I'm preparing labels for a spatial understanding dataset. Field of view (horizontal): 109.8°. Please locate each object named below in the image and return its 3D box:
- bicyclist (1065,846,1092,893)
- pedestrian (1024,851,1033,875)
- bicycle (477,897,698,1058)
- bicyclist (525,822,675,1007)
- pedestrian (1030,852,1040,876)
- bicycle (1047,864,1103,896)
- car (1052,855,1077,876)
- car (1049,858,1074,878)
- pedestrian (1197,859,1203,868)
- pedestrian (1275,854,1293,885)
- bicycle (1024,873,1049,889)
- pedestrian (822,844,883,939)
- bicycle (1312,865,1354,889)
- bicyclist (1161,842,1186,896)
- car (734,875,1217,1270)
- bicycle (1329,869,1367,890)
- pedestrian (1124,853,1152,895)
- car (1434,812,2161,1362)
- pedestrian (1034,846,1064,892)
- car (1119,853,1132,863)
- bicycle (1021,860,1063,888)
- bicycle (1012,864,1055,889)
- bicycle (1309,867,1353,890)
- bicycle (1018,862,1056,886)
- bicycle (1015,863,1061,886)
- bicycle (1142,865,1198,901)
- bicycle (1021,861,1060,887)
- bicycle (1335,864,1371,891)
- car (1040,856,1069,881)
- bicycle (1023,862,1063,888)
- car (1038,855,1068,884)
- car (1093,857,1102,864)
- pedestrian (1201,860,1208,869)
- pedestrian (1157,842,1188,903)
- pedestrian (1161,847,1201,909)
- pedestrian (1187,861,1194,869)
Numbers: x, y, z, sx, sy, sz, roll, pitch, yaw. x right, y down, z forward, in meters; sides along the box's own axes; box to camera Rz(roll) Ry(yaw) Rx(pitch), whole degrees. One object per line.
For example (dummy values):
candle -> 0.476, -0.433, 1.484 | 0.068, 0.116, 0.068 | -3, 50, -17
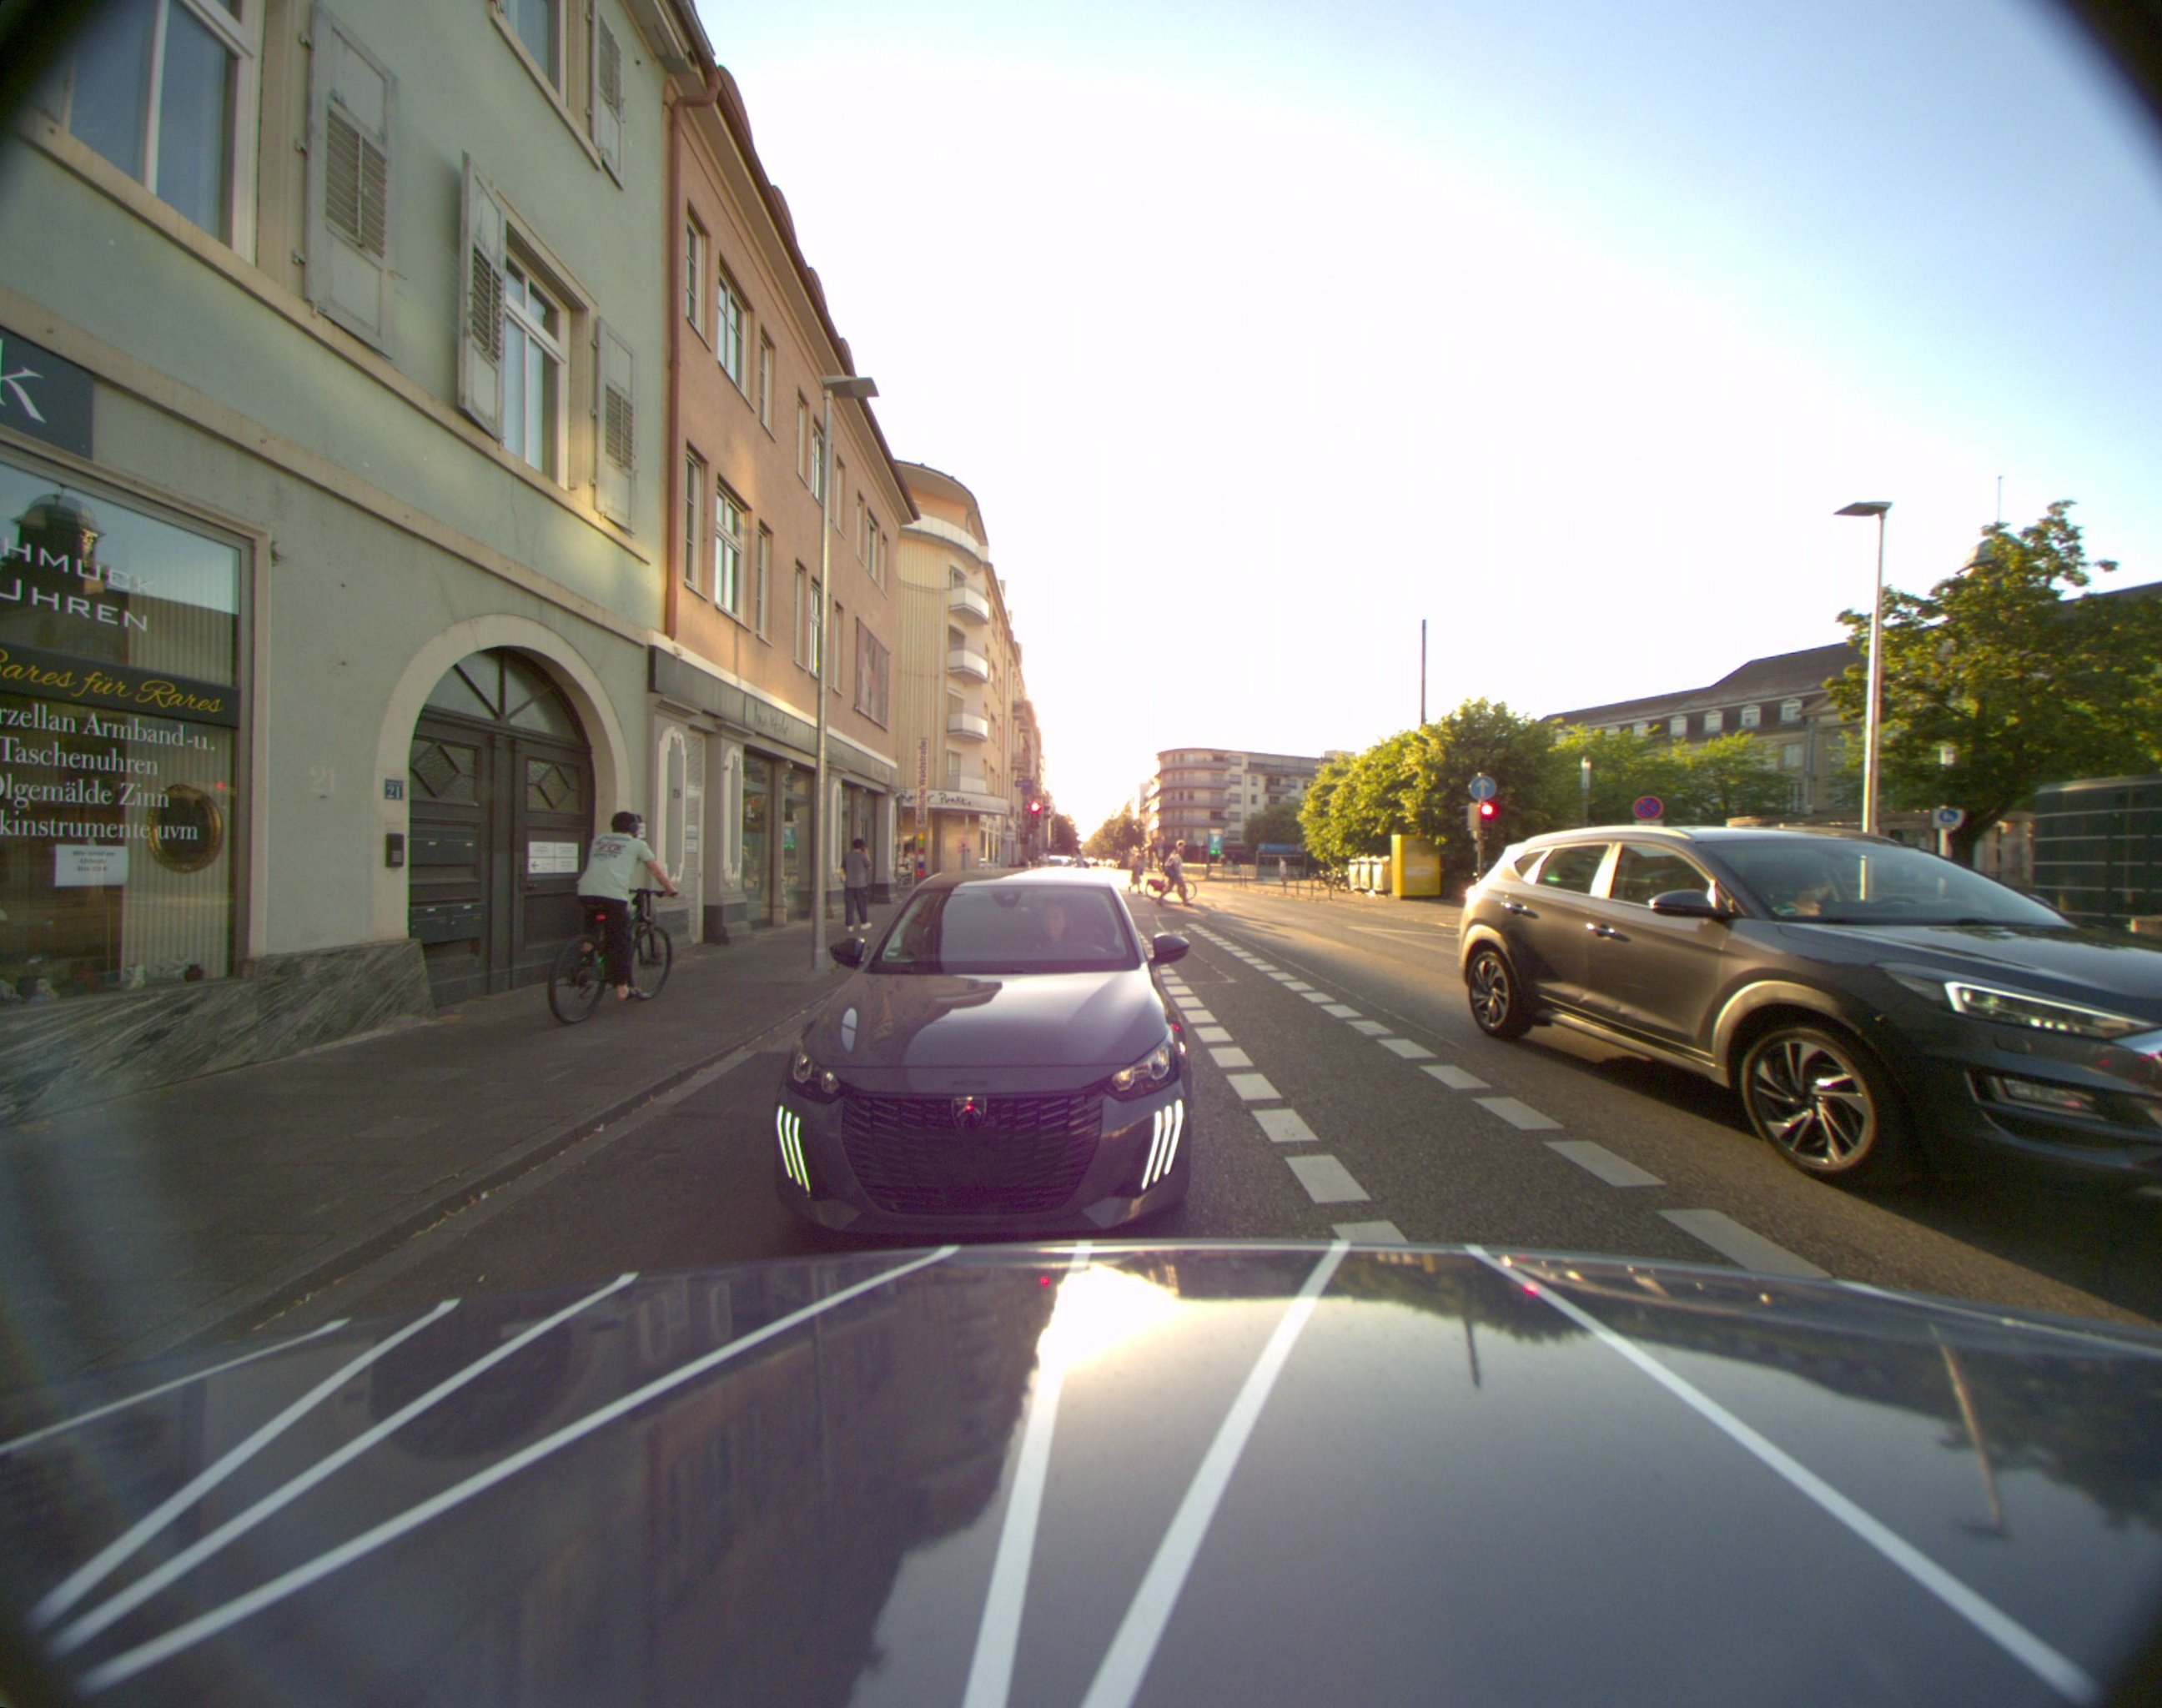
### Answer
bicyclist -> -0.097, 0.564, 28.018 | 0.777, 1.714, 0.856 | 1, 0, 15
pedestrian -> -4.328, 0.734, 62.144 | 0.673, 2.002, 0.851 | 0, 1, 0
bicycle -> -4.173, 0.980, 6.639 | 0.692, 1.100, 1.896 | 1, 0, 0
bicyclist -> -4.156, 0.491, 6.638 | 0.724, 1.499, 0.900 | 1, 0, 1
pedestrian -> -3.751, 0.825, 62.306 | 0.763, 2.002, 0.851 | 0, 0, 0
bicycle -> -0.231, 0.941, 28.089 | 1.917, 1.111, 0.706 | 1, 0, 17
car -> -1.301, 0.938, 62.226 | 1.877, 1.664, 4.430 | 0, 0, 0
car -> -1.410, 1.017, 56.624 | 1.738, 1.448, 4.610 | 0, 0, 1
pedestrian -> 17.435, 1.370, 111.318 | 0.732, 1.314, 0.889 | 0, 0, -1
pedestrian -> 12.140, 0.899, 45.386 | 0.951, 1.806, 0.827 | 1, 0, 18
bicycle -> -1.975, 1.183, 33.495 | 1.008, 0.677, 1.049 | 1, 0, -9
pedestrian -> -4.055, 0.646, 13.526 | 0.825, 1.632, 0.871 | 1, 0, -2
bicycle -> 13.152, 1.193, 39.702 | 2.031, 1.245, 0.548 | -1, 0, -4
bicyclist -> 3.159, 0.495, 25.885 | 0.835, 1.815, 0.831 | 1, 0, 8
car -> -0.440, 0.926, 5.245 | 1.908, 1.438, 4.449 | 0, 0, -1
bicycle -> 13.108, 1.239, 37.277 | 1.678, 0.973, 0.548 | -1, 0, -4
pedestrian -> 2.320, 0.802, 30.986 | 0.789, 1.643, 0.782 | 1, 1, 43
car -> 4.103, 0.749, 4.545 | 1.877, 1.679, 4.450 | 2, 0, 0
pedestrian -> -1.291, 0.598, 30.911 | 0.869, 1.806, 0.828 | 1, 1, 31
car -> 7.865, 0.715, 135.620 | 1.999, 1.805, 3.999 | 1, 0, -2
bicycle -> -1.809, 0.926, 35.110 | 1.849, 1.232, 0.639 | 1, 0, -5
bicycle -> -2.140, 1.004, 34.172 | 1.788, 1.057, 0.718 | 2, 0, -11
bicycle -> 12.466, 1.216, 37.949 | 2.031, 1.128, 0.548 | -1, 0, -4
bicycle -> -2.219, 0.999, 38.440 | 1.851, 1.117, 0.594 | 2, 1, -11
bicycle -> -2.126, 1.011, 37.441 | 2.176, 1.069, 0.805 | 2, 0, -7
bicycle -> 3.046, 0.974, 25.911 | 1.823, 1.179, 0.794 | 1, 0, 9
bicycle -> -1.946, 0.962, 36.489 | 1.788, 1.166, 0.622 | 2, 0, -11
bicycle -> 13.196, 1.134, 36.846 | 1.590, 1.245, 0.445 | -1, 0, -2
car -> -1.740, 0.924, 51.053 | 1.821, 1.611, 4.203 | 0, 0, 0
bicycle -> -1.810, 0.974, 35.858 | 1.788, 1.166, 0.622 | 2, 0, -11
car -> -1.635, 0.881, 44.775 | 1.702, 1.607, 4.682 | 0, 0, -2
car -> 3.641, 1.504, 166.969 | 1.790, 1.458, 3.956 | 2, 0, -1
pedestrian -> 18.205, 1.476, 111.755 | 0.689, 1.314, 0.819 | 0, 0, -24
pedestrian -> 2.919, 0.580, 24.139 | 0.939, 1.886, 0.826 | 1, 0, 9
pedestrian -> 2.907, 0.693, 22.207 | 1.099, 1.764, 0.826 | 1, 0, 6
pedestrian -> 15.818, 1.544, 109.827 | 0.887, 1.185, 0.733 | 0, 0, 9
